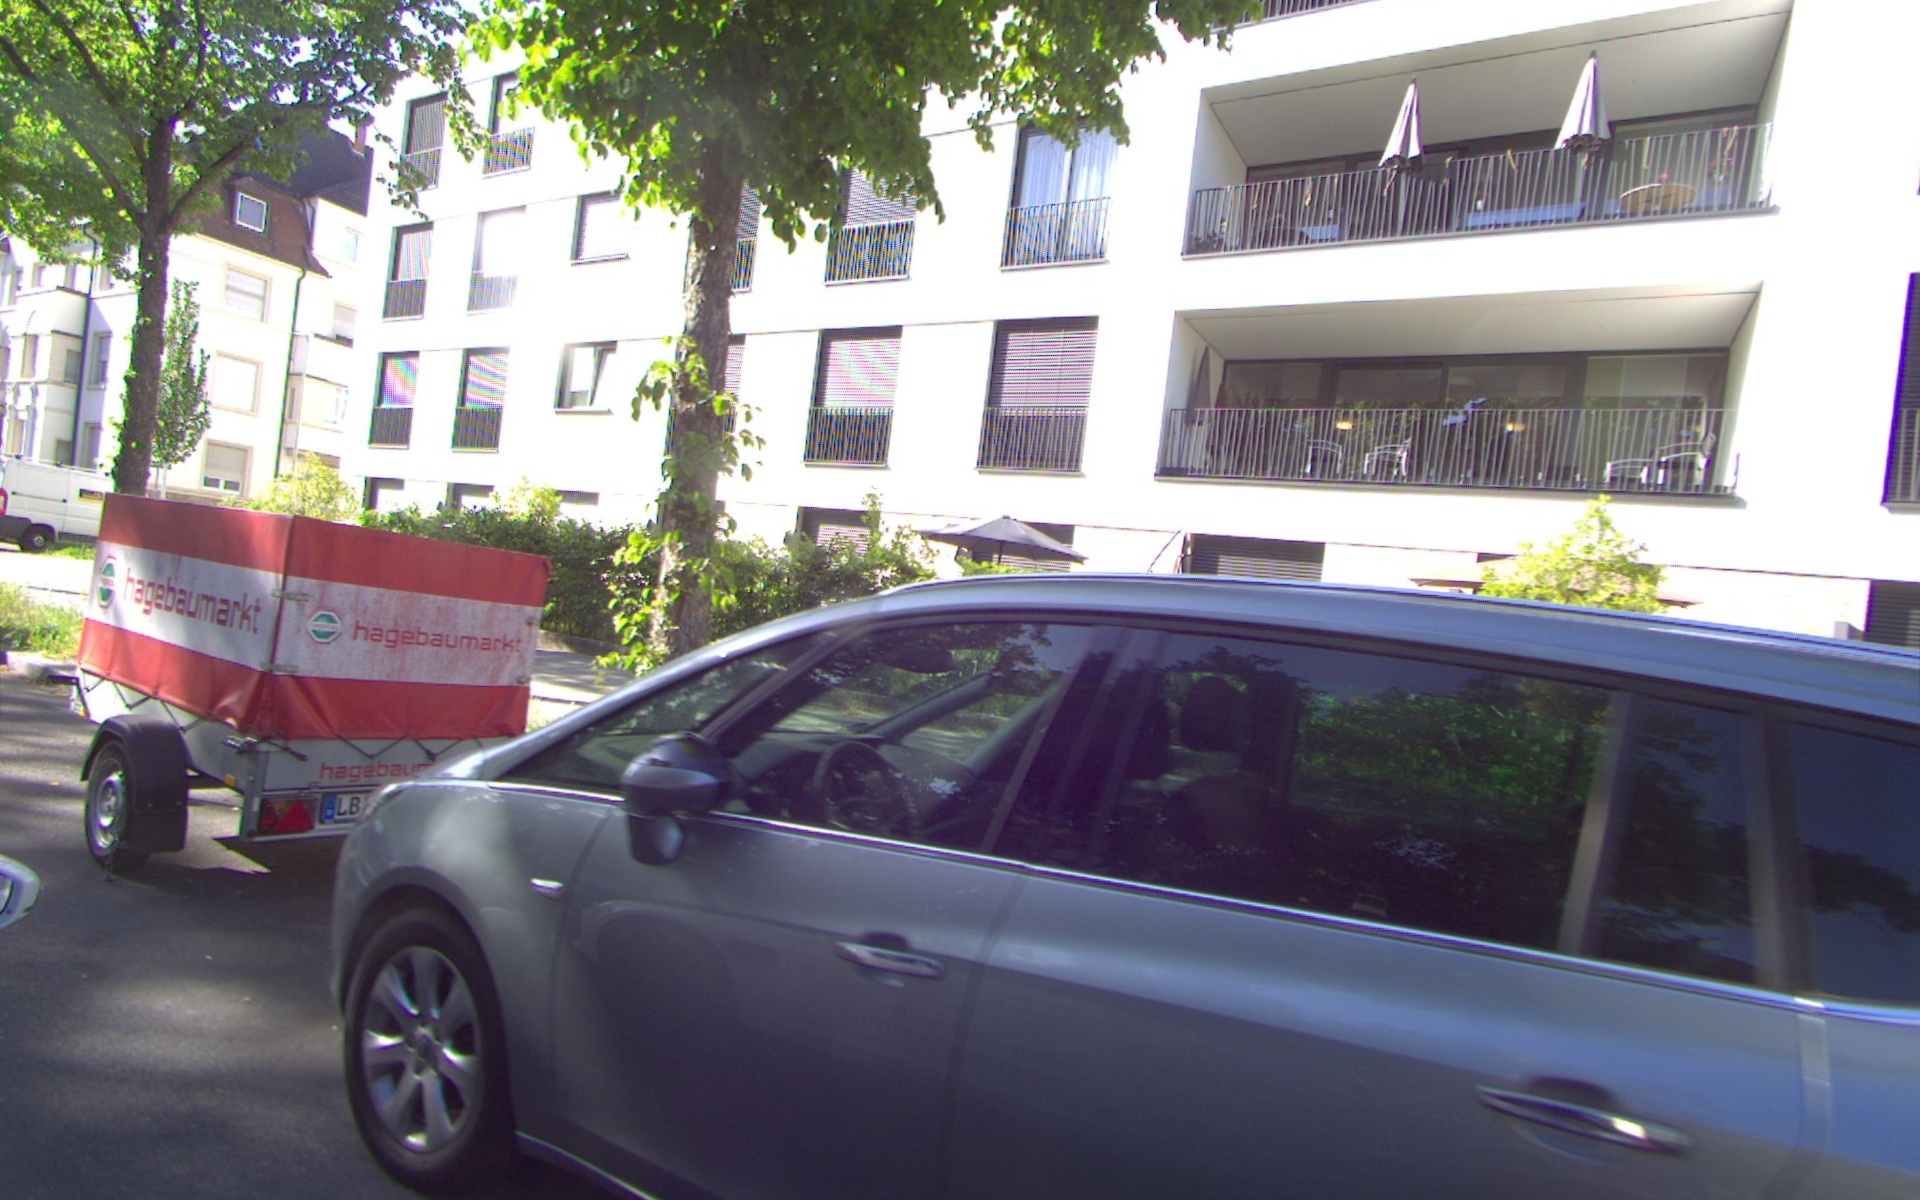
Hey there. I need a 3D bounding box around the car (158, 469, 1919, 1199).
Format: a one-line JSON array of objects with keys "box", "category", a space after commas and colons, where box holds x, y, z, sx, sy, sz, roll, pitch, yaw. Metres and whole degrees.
[{"box": [0.241, 0.775, 2.492, 4.738, 1.662, 1.797, 7, -2, 31], "category": "car"}]

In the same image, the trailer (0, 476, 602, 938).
[{"box": [-3.594, 0.363, 5.160, 3.140, 1.596, 1.577, 7, -2, 33], "category": "trailer"}]

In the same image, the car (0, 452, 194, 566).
[{"box": [-22.998, -2.320, 25.835, 2.192, 2.334, 5.059, 7, 0, 8], "category": "car"}]

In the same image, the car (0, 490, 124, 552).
[{"box": [-28.907, -2.548, 30.954, 4.706, 1.487, 1.928, 8, -1, -45], "category": "car"}]

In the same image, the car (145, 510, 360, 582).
[{"box": [-21.526, -1.608, 30.865, 2.013, 1.487, 4.936, 7, 0, 29], "category": "car"}]
